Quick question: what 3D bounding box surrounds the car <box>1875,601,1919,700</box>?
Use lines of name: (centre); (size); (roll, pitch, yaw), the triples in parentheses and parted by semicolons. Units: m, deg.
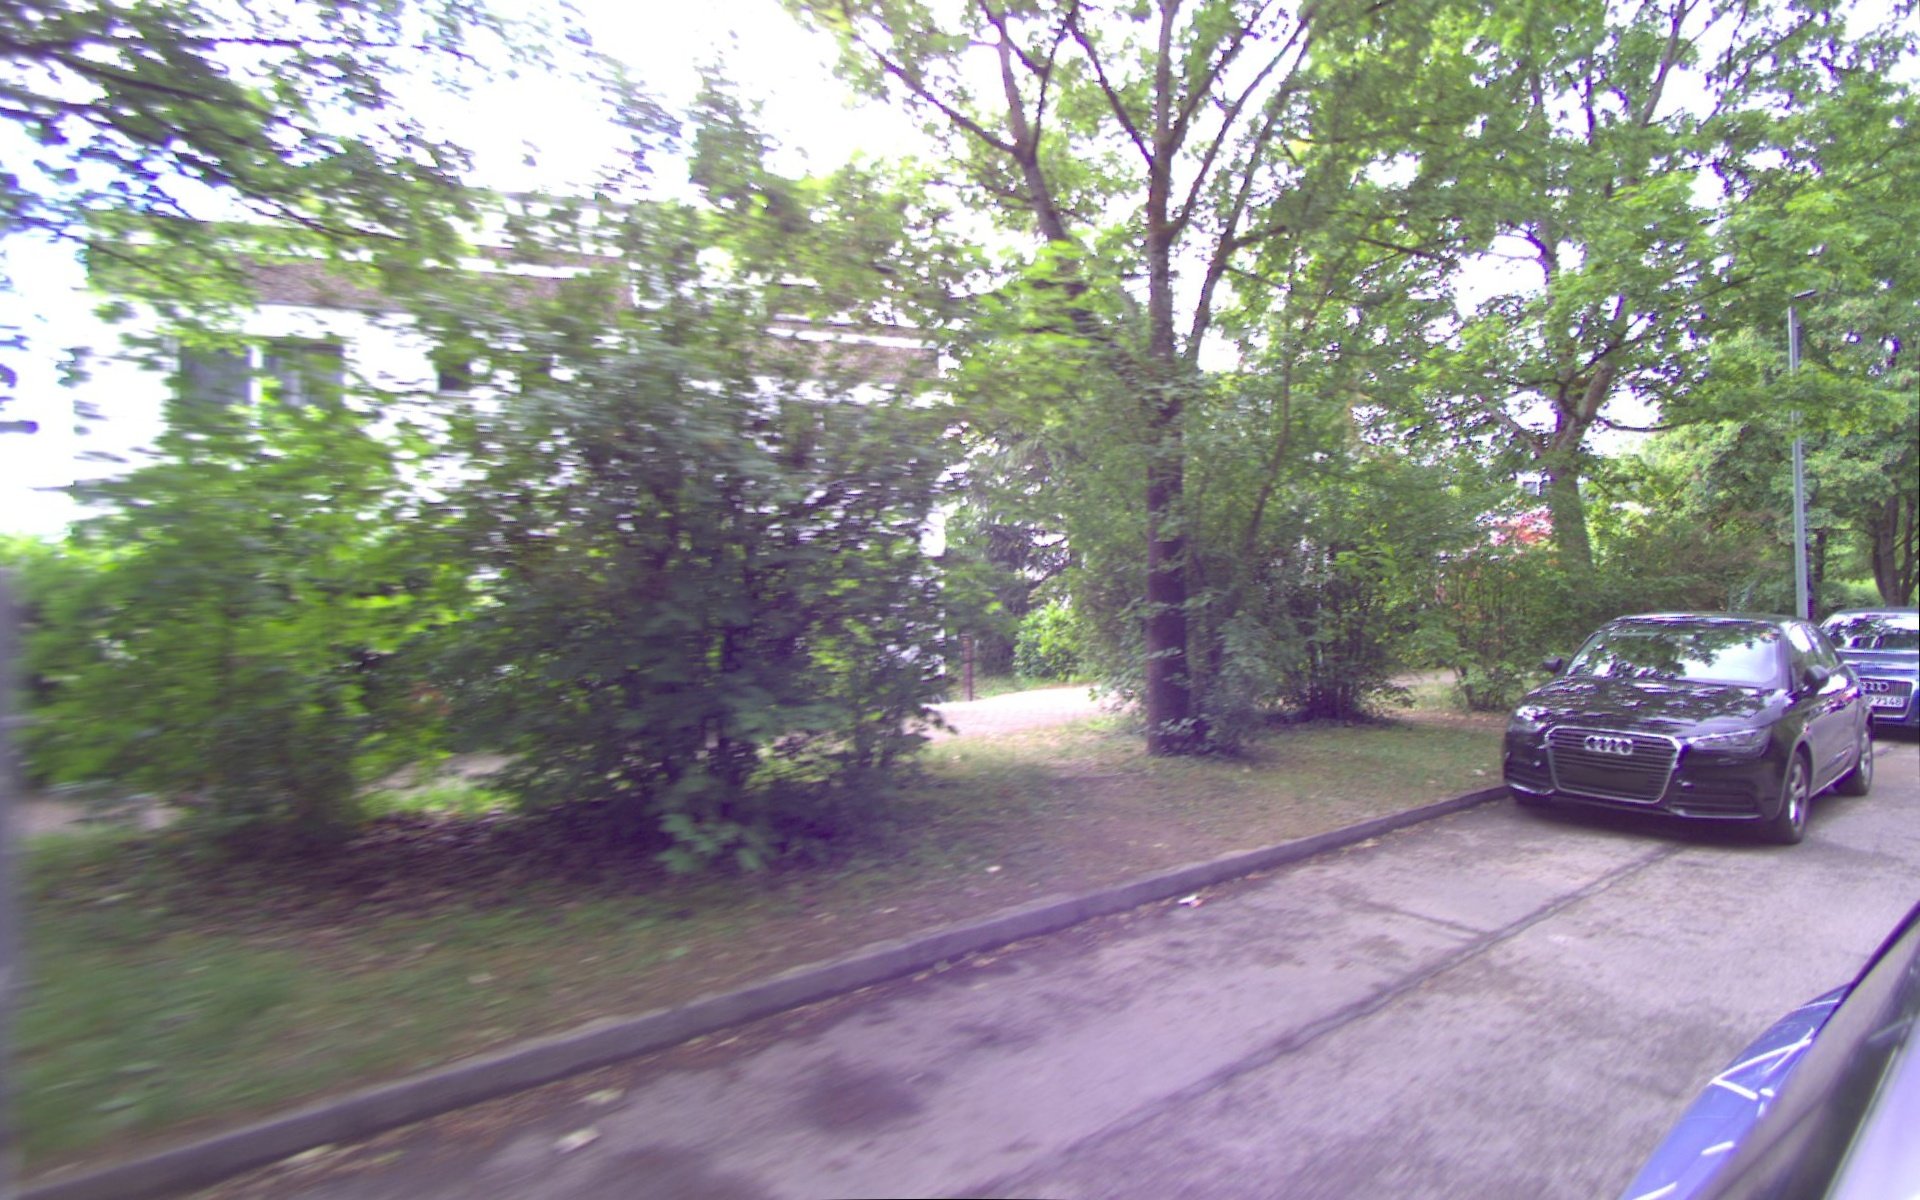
car: (16.088, 0.730, 15.870); (4.164, 1.456, 1.817); (0, -2, -37)

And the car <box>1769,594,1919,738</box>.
car: (11.443, 0.683, 12.239); (4.401, 1.493, 1.850); (0, -1, -41)

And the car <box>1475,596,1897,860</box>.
car: (5.588, 0.725, 7.619); (3.849, 1.471, 1.723); (0, -1, -41)

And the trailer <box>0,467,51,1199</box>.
trailer: (-2.593, 0.634, 1.033); (2.417, 1.605, 1.281); (0, -1, -41)
